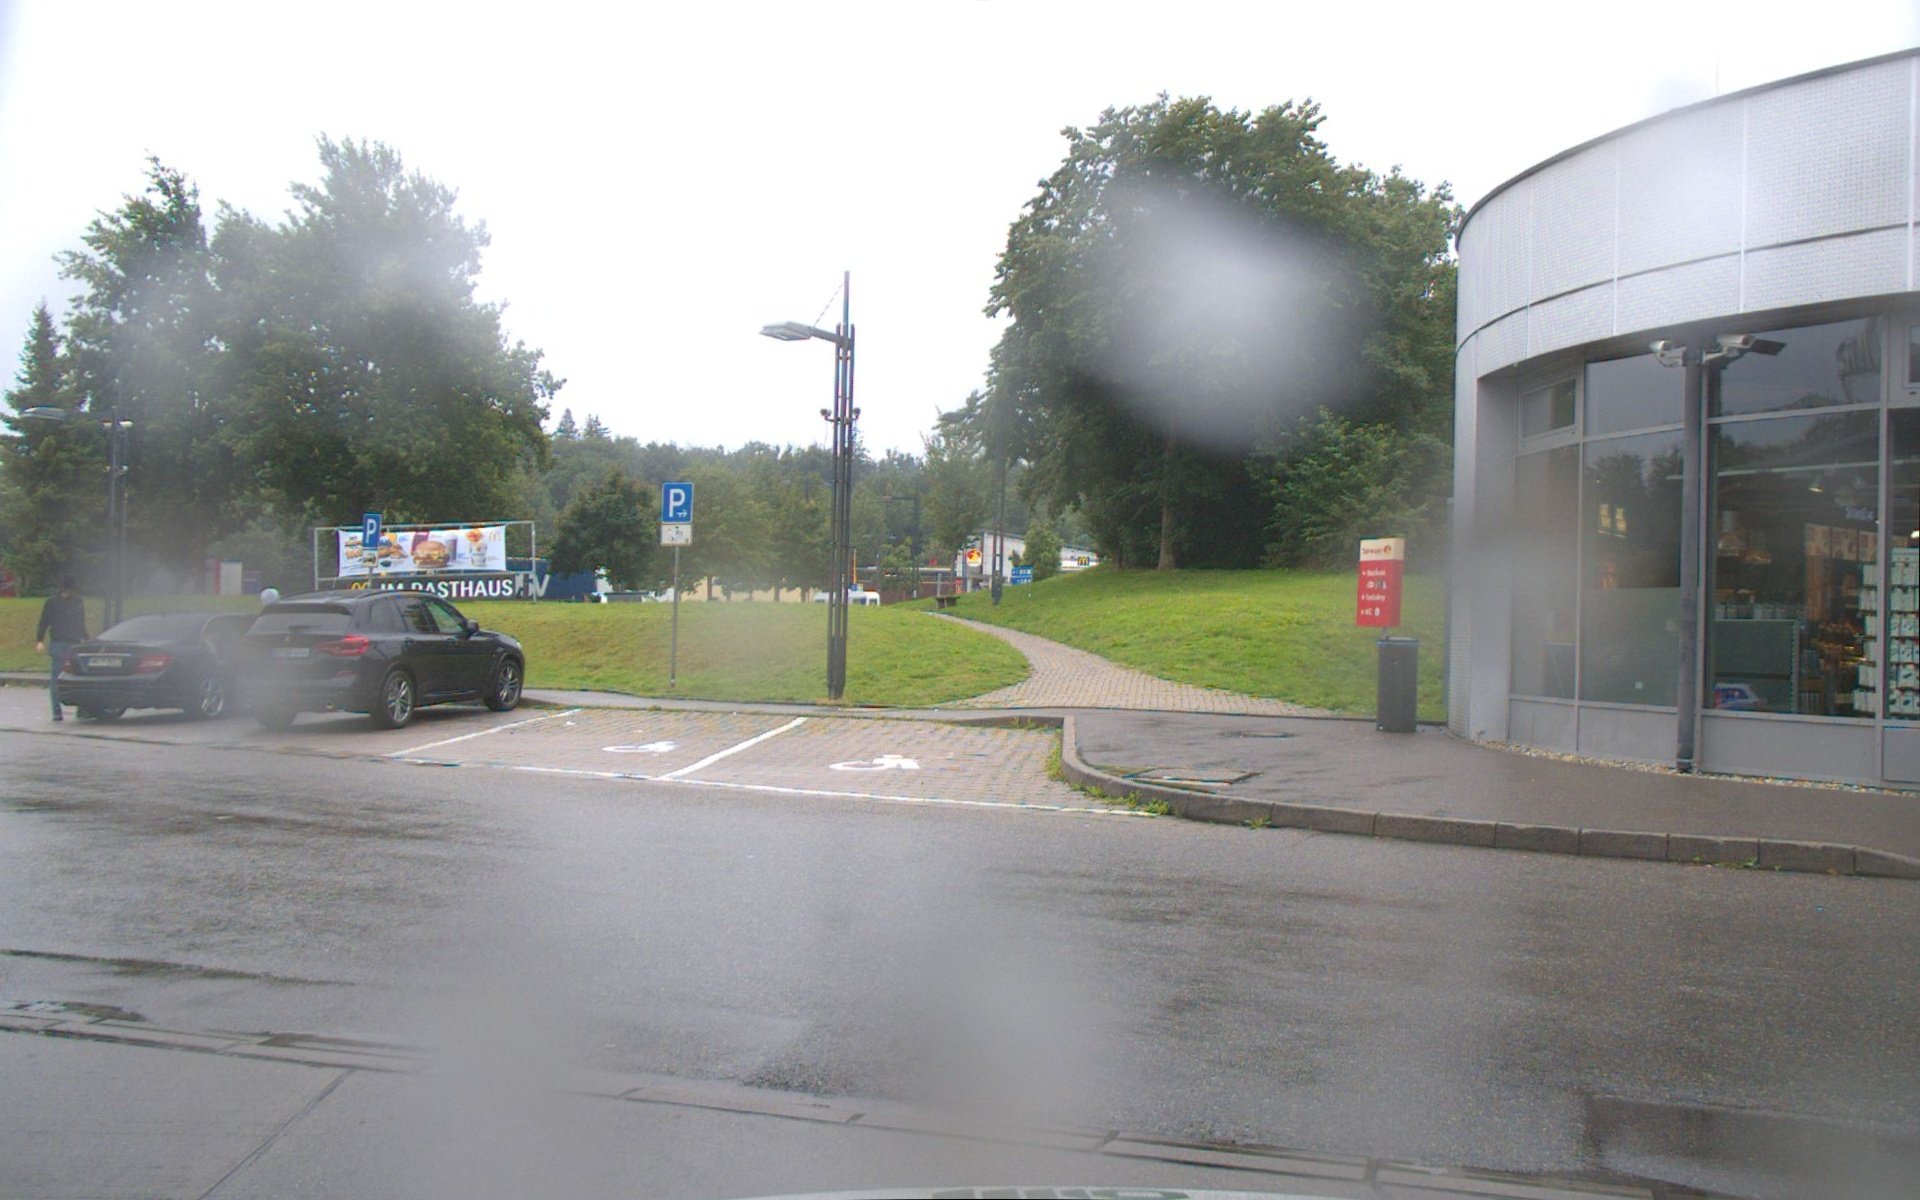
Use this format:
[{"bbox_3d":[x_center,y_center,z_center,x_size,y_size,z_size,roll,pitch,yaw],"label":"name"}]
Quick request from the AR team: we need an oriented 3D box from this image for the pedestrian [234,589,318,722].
[{"bbox_3d":[-8.758,0.697,21.170,0.939,1.660,0.698,1,-1,-26],"label":"pedestrian"}]

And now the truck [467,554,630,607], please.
[{"bbox_3d":[-24.940,-1.092,101.253,2.142,2.971,13.093,1,0,23],"label":"truck"}]

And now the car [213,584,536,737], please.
[{"bbox_3d":[-7.370,0.692,21.356,1.973,1.741,4.347,-1,1,11],"label":"car"}]

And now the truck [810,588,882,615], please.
[{"bbox_3d":[-9.245,0.133,133.652,5.298,2.049,2.366,1,0,24],"label":"truck"}]

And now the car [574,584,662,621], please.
[{"bbox_3d":[-17.592,0.138,85.192,4.092,1.814,1.820,1,0,-37],"label":"car"}]

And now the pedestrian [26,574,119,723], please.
[{"bbox_3d":[-11.712,0.624,21.841,0.874,1.920,0.702,1,-1,30],"label":"pedestrian"}]

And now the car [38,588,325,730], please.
[{"bbox_3d":[-10.578,0.718,22.874,1.976,1.741,4.342,-1,1,-2],"label":"car"}]

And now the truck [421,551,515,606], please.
[{"bbox_3d":[-27.990,-1.175,94.237,2.142,2.971,5.384,1,0,24],"label":"truck"}]
